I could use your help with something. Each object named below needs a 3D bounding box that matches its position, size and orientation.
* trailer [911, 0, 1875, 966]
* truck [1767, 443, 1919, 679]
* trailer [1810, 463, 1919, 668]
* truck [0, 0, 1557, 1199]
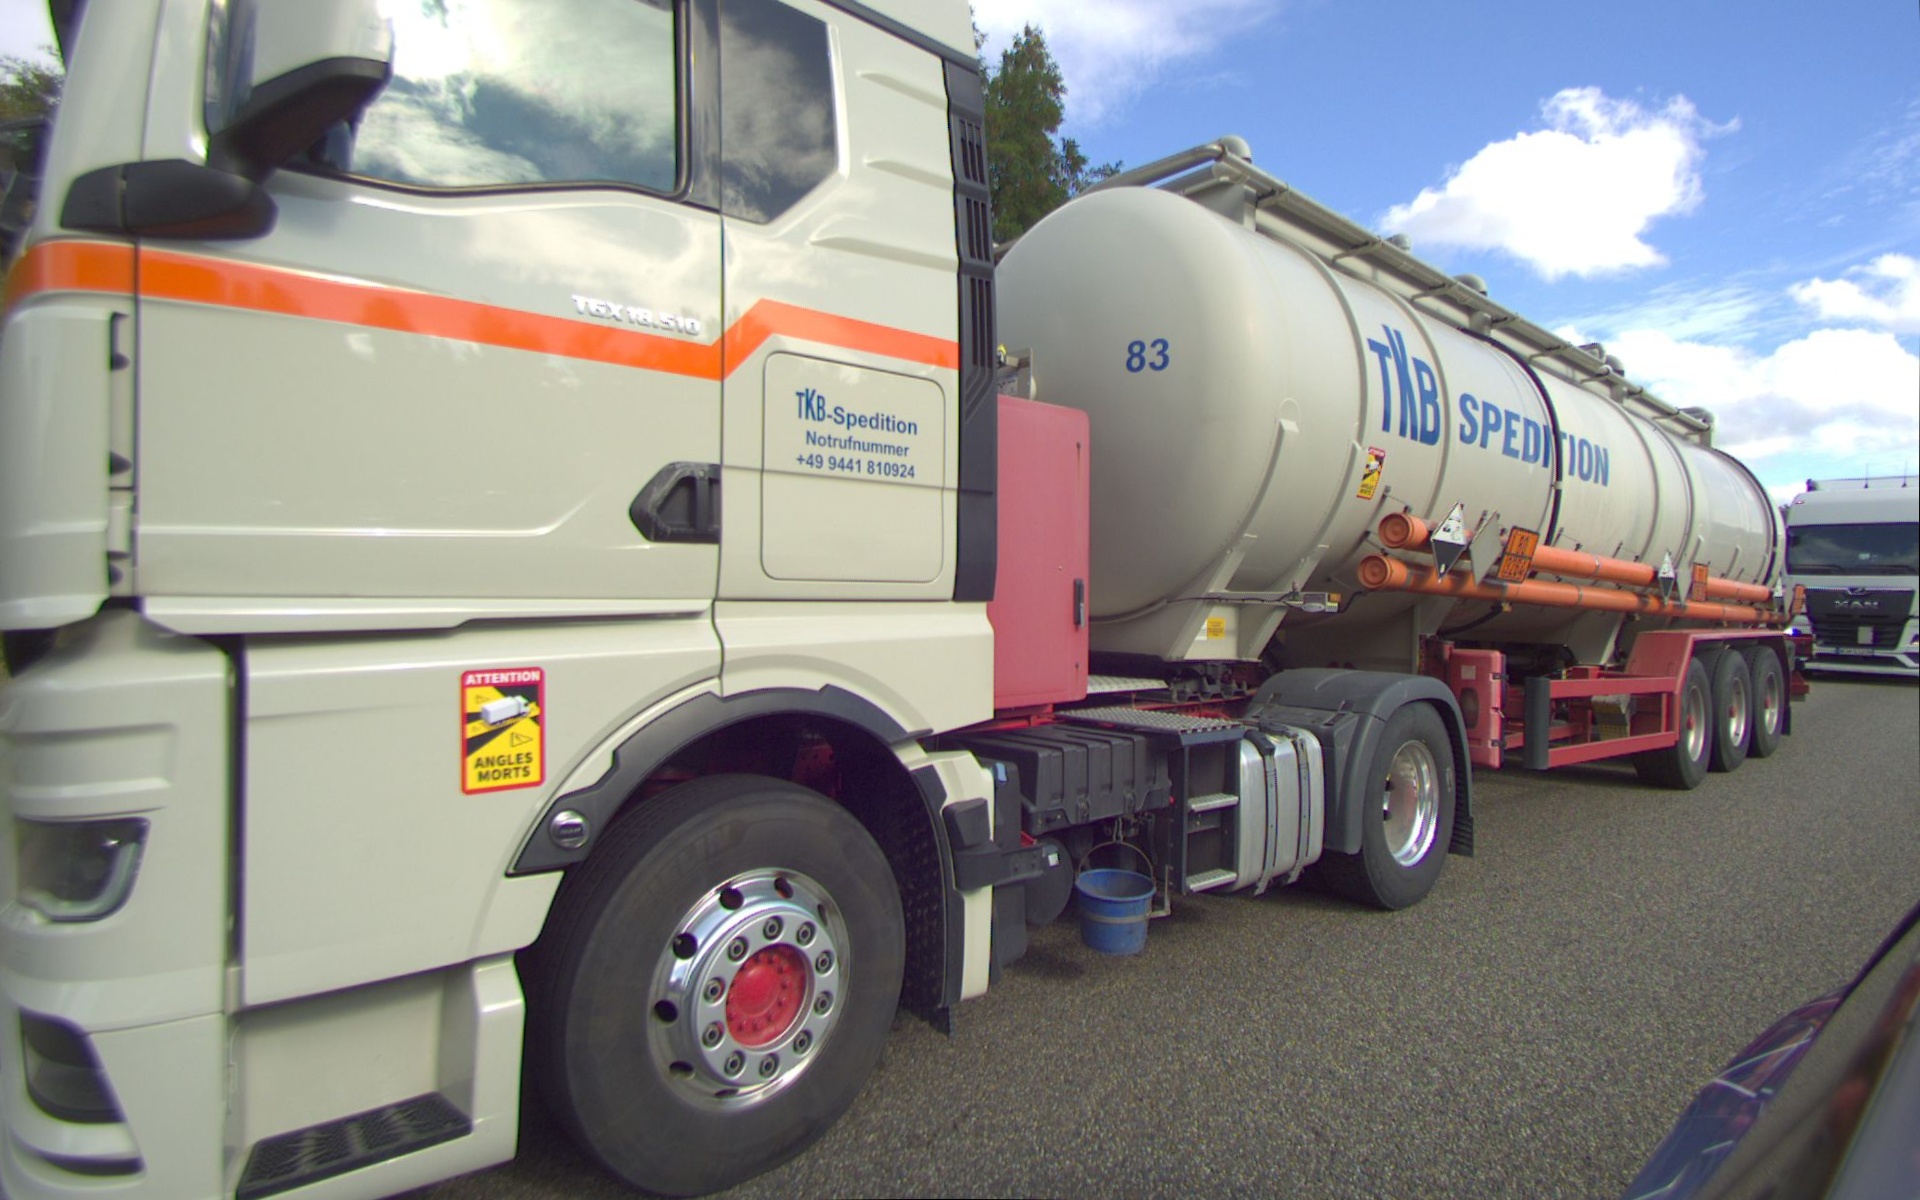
[{"bbox_3d":[4.796,-0.692,8.459,10.984,4.077,2.804,0,0,-40],"label":"trailer"},{"bbox_3d":[18.506,-0.700,20.102,5.606,4.123,2.839,0,0,-40],"label":"truck"},{"bbox_3d":[24.181,-0.725,24.893,13.135,4.122,2.831,0,0,-40],"label":"trailer"},{"bbox_3d":[-0.088,-0.648,4.337,5.799,4.094,2.808,0,0,-40],"label":"truck"}]
